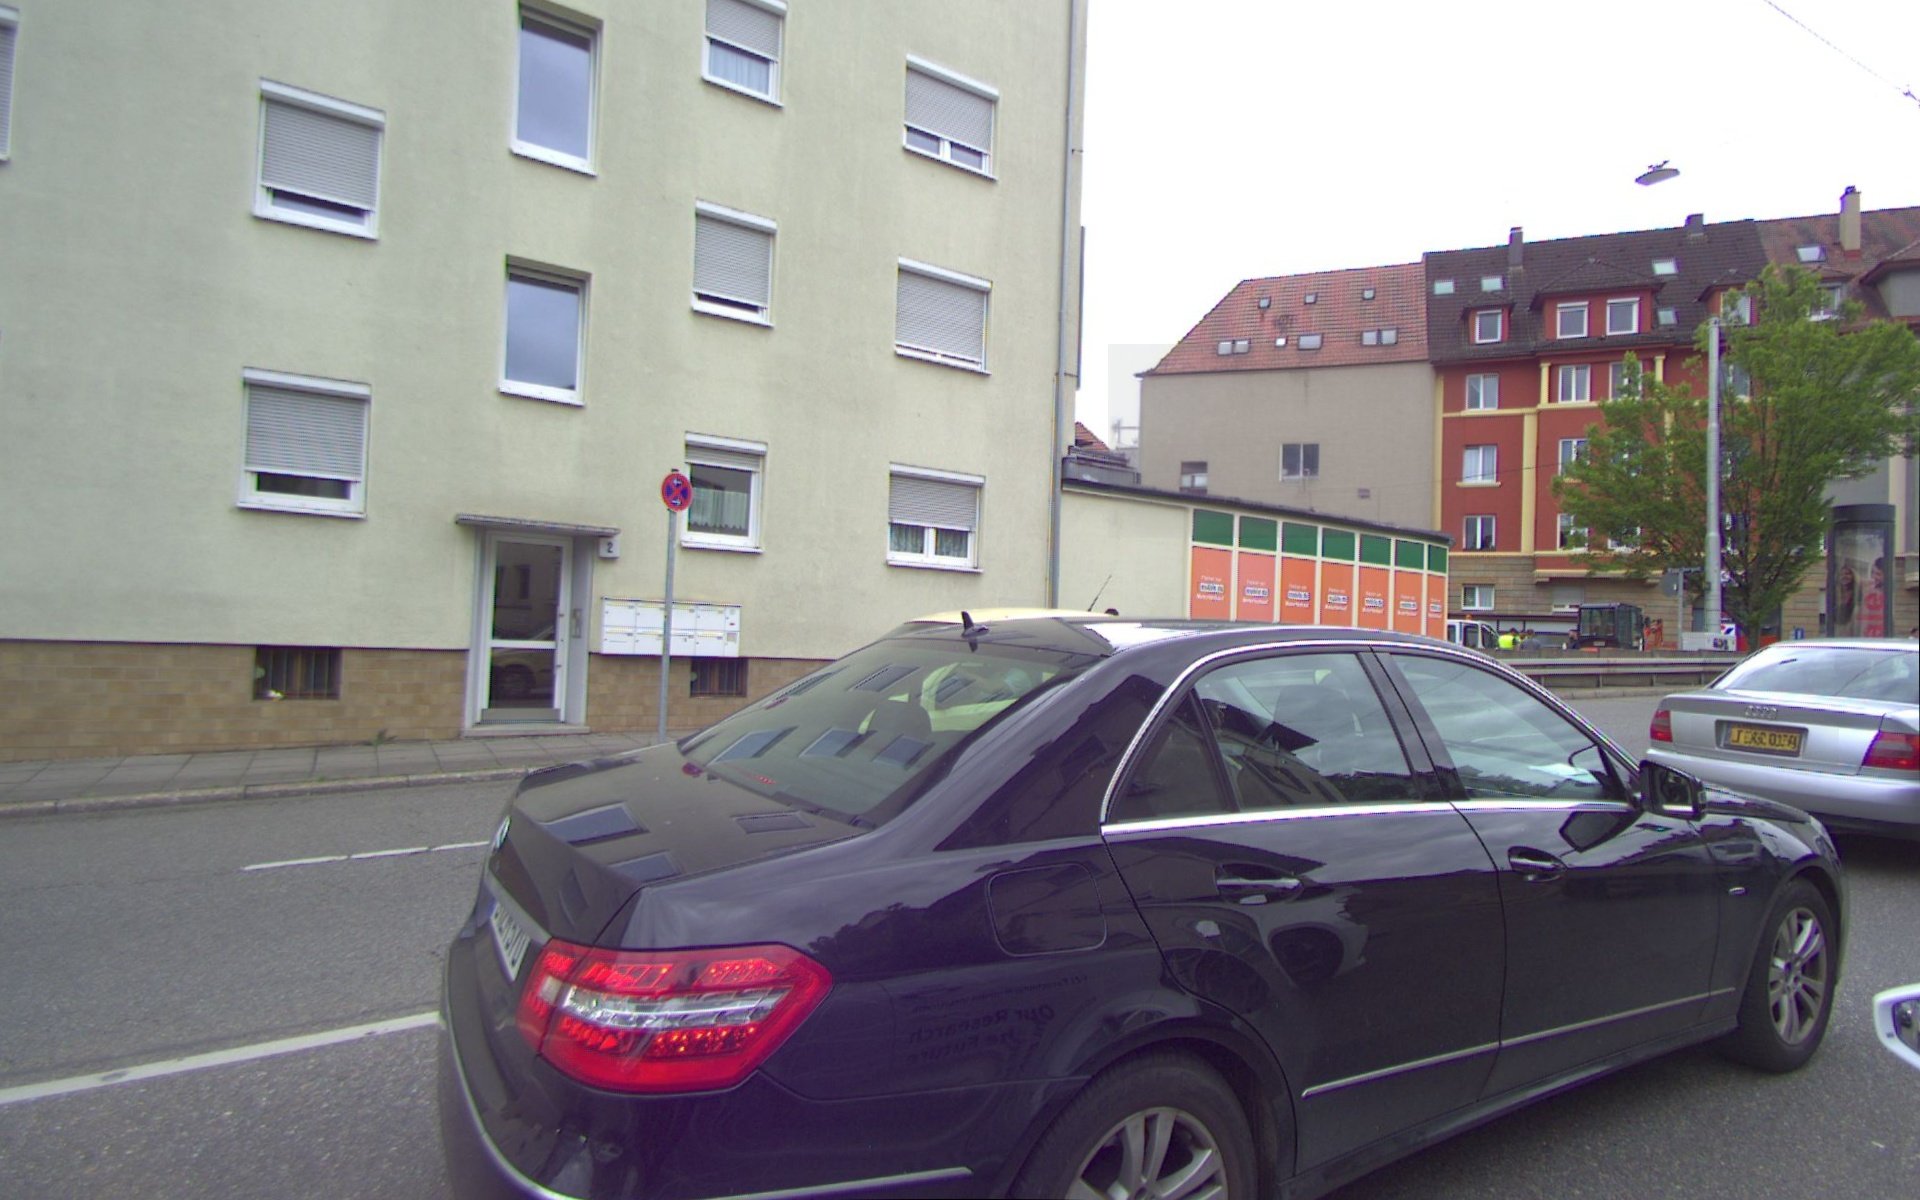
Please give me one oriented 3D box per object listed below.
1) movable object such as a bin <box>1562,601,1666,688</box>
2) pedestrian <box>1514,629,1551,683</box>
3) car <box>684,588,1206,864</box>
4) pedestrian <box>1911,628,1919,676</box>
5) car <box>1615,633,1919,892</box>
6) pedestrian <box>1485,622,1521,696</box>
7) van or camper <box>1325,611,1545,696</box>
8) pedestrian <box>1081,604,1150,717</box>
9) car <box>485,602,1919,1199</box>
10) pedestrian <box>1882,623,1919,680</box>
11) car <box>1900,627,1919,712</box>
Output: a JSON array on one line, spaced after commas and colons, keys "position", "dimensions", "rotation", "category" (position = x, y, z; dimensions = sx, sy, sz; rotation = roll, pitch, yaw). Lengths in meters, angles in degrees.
[{"position": [16.563, 1.105, 25.390], "dimensions": [3.510, 2.040, 1.363], "rotation": [2, -2, -42], "category": "movable object such as a bin"}, {"position": [14.806, 1.444, 25.990], "dimensions": [0.613, 1.381, 0.602], "rotation": [0, -1, 4], "category": "pedestrian"}, {"position": [-0.048, 0.769, 7.181], "dimensions": [3.420, 1.537, 1.590], "rotation": [2, -2, -31], "category": "car"}, {"position": [27.554, 1.481, 28.527], "dimensions": [0.573, 1.356, 0.576], "rotation": [1, -1, -5], "category": "pedestrian"}, {"position": [6.690, 0.935, 7.046], "dimensions": [4.072, 1.383, 1.624], "rotation": [1, -2, -25], "category": "car"}, {"position": [15.432, 1.666, 28.582], "dimensions": [0.810, 2.040, 0.680], "rotation": [0, 0, 22], "category": "pedestrian"}, {"position": [14.545, 1.570, 31.027], "dimensions": [5.894, 2.369, 2.686], "rotation": [0, -1, 26], "category": "van or camper"}, {"position": [2.345, 0.895, 15.197], "dimensions": [0.771, 1.658, 0.683], "rotation": [1, -1, -34], "category": "pedestrian"}, {"position": [1.120, 0.773, 3.395], "dimensions": [4.785, 1.448, 1.984], "rotation": [1, 0, -30], "category": "car"}, {"position": [26.757, 1.453, 28.350], "dimensions": [0.724, 1.567, 0.795], "rotation": [1, 0, -2], "category": "pedestrian"}, {"position": [18.338, 1.228, 17.628], "dimensions": [3.485, 1.466, 1.592], "rotation": [2, -2, -27], "category": "car"}]
